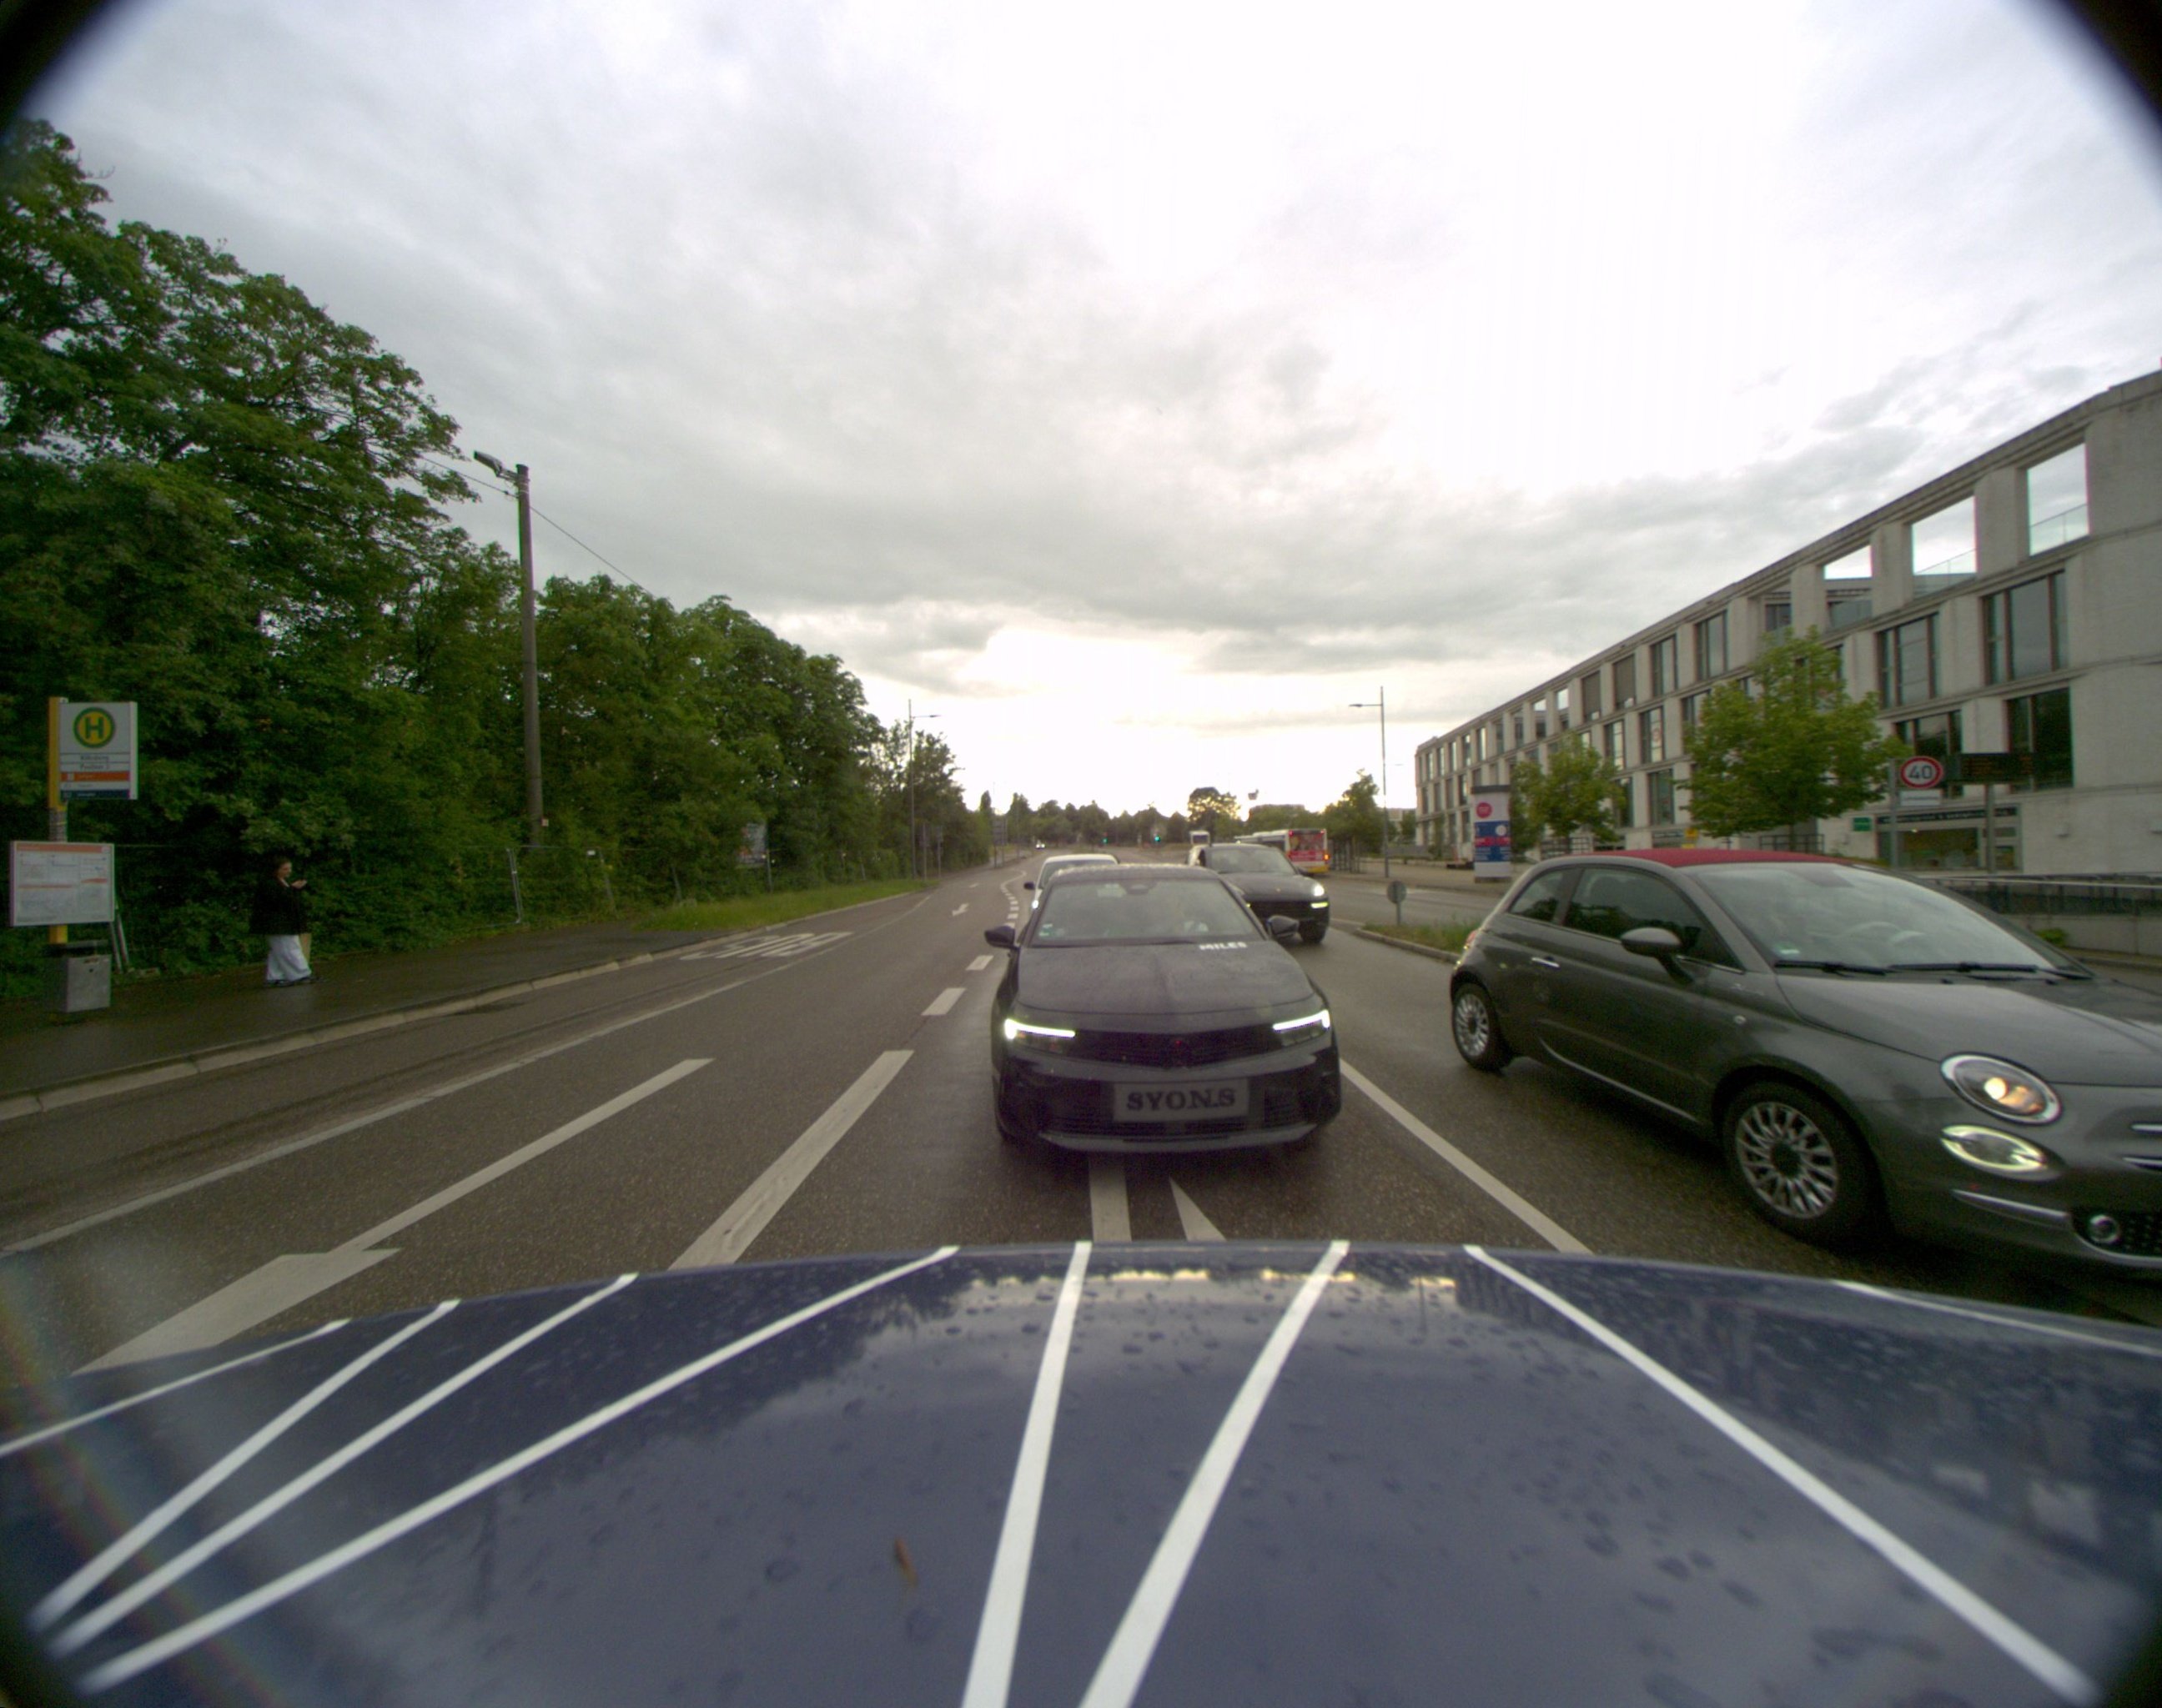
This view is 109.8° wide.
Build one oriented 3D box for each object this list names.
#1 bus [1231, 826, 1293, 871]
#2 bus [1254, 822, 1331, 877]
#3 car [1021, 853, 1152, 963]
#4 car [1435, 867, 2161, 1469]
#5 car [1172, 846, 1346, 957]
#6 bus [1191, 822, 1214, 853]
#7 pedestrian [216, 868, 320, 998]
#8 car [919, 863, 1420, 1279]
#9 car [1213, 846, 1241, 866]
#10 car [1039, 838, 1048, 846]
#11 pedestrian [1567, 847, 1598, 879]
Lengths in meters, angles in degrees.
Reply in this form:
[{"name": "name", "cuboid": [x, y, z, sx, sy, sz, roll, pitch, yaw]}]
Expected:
[{"name": "bus", "cuboid": [14.110, -0.454, 60.035, 2.693, 3.163, 9.912, -2, 1, 2]}, {"name": "bus", "cuboid": [13.820, -0.315, 50.530, 2.759, 3.194, 9.207, -2, 1, 2]}, {"name": "car", "cuboid": [0.113, 0.800, 13.667, 1.901, 1.524, 4.767, -2, 1, 1]}, {"name": "car", "cuboid": [3.428, 0.855, 3.766, 1.631, 1.473, 3.505, -1, 1, -2]}, {"name": "car", "cuboid": [2.978, 0.701, 13.802, 1.934, 1.649, 4.617, -1, 0, -2]}, {"name": "bus", "cuboid": [18.433, -2.430, 114.233, 2.757, 4.129, 19.359, -2, 1, 11]}, {"name": "pedestrian", "cuboid": [-10.632, 1.009, 9.958, 0.588, 1.618, 0.661, -1, 1, 1]}, {"name": "car", "cuboid": [0.378, 0.882, 5.347, 1.901, 1.456, 4.767, -2, 1, 1]}, {"name": "car", "cuboid": [13.566, 0.167, 70.724, 1.867, 1.777, 3.999, -2, 1, 1]}, {"name": "car", "cuboid": [-10.092, -3.226, 203.585, 2.000, 1.805, 3.996, -2, 1, -10]}, {"name": "pedestrian", "cuboid": [25.455, 0.462, 38.604, 0.983, 1.572, 0.867, -2, 1, 2]}]
